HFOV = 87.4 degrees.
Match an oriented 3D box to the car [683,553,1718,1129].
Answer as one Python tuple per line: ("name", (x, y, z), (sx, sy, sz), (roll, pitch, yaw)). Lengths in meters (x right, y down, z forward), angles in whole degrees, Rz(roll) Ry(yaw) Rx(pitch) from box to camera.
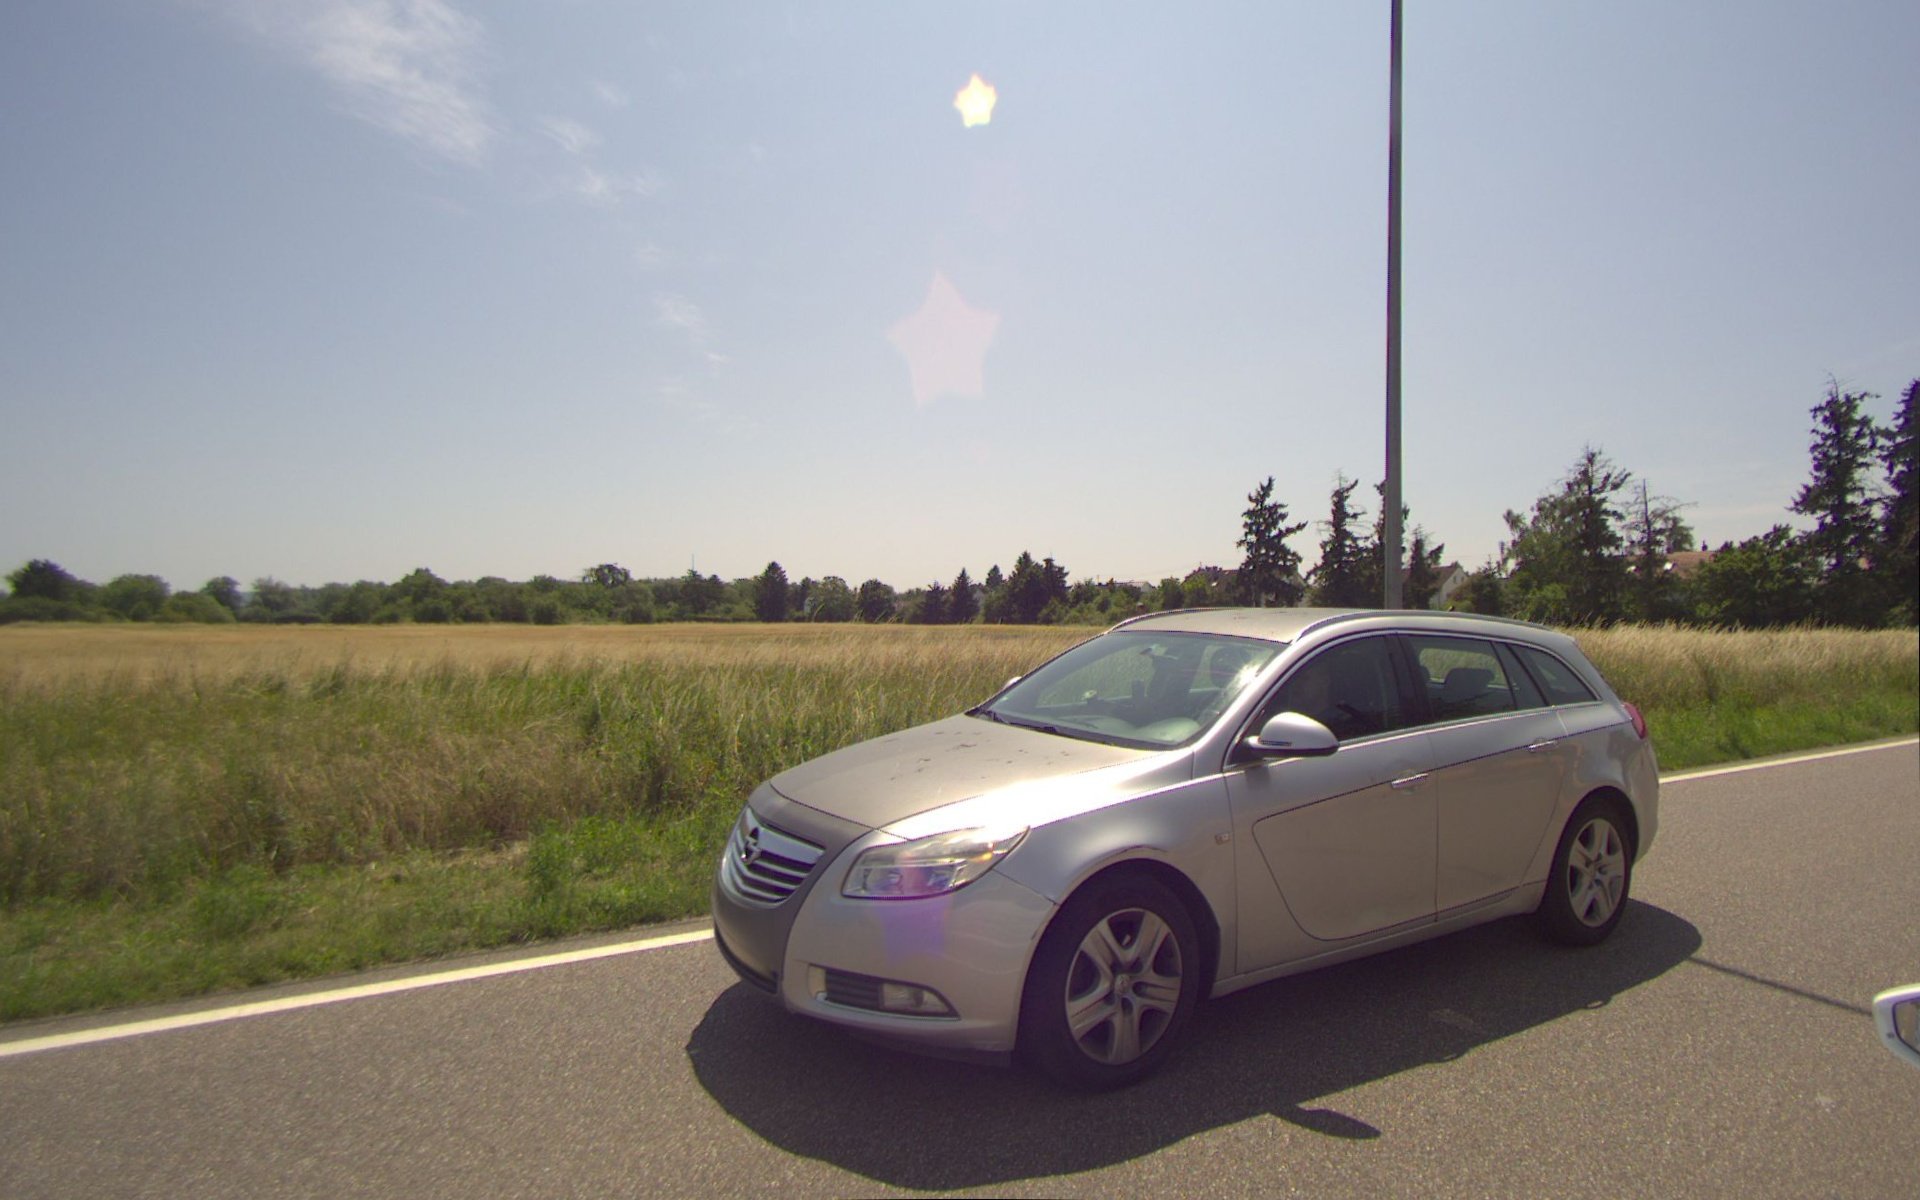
("car", (1.298, 0.699, 4.573), (4.623, 1.486, 1.826), (2, -2, -30))
